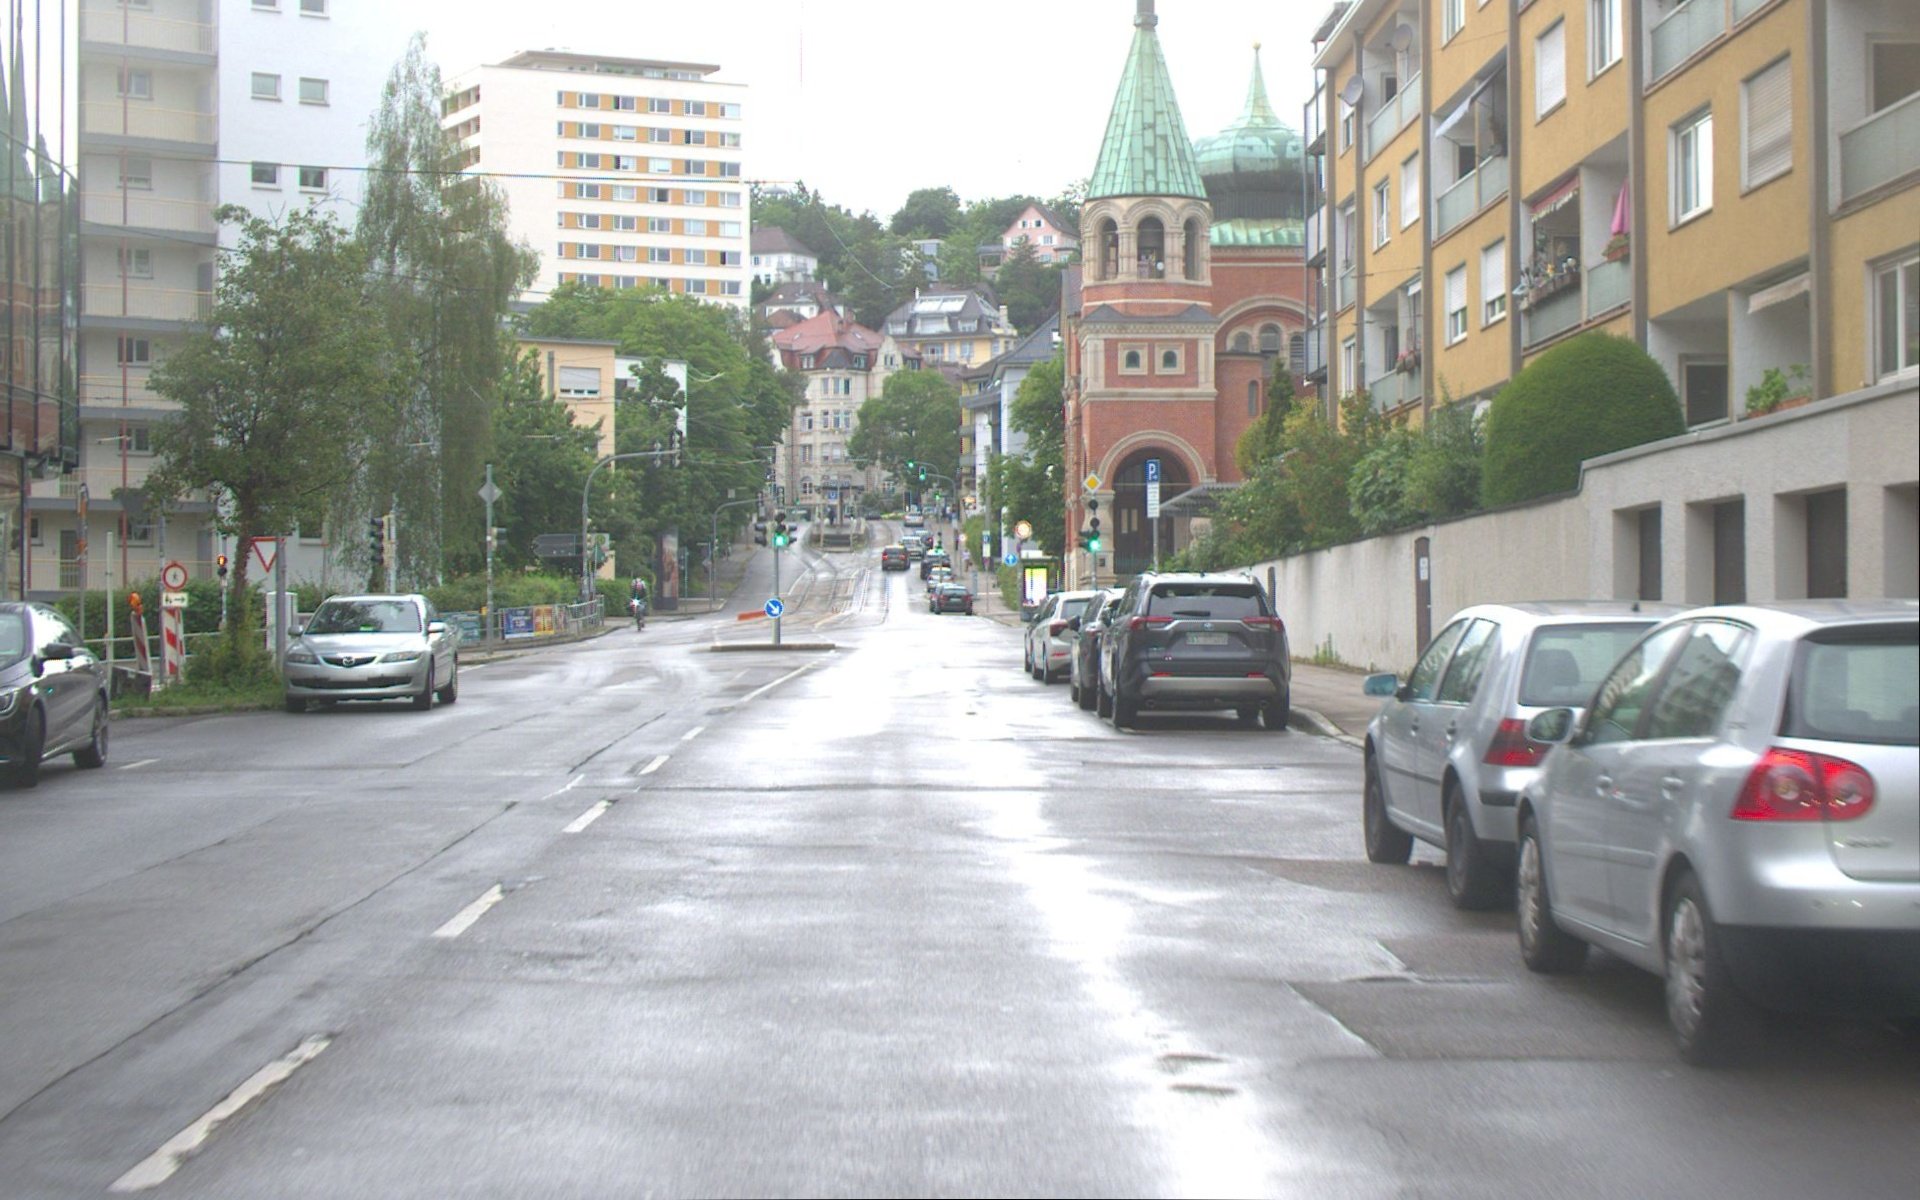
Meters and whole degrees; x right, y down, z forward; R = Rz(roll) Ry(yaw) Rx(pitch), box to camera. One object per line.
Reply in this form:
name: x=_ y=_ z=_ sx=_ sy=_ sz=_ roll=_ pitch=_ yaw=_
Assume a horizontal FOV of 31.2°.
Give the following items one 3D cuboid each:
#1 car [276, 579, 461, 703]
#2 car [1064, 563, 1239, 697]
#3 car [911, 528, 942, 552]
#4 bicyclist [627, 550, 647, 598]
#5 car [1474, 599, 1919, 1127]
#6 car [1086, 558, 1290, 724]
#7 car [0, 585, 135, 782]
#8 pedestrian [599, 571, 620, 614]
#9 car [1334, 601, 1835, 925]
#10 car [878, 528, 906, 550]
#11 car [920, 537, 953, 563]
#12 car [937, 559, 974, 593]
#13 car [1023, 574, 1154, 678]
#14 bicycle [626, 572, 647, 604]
car: x=-7.326 y=0.477 z=42.945 sx=1.709 sy=1.445 sz=4.295 roll=-1 pitch=0 yaw=-2
car: x=2.341 y=0.340 z=42.890 sx=1.817 sy=1.517 sz=4.076 roll=1 pitch=1 yaw=-1
car: x=-2.178 y=-3.928 z=224.869 sx=1.908 sy=1.505 sz=4.000 roll=2 pitch=1 yaw=-1
bicyclist: x=-11.113 y=-0.890 z=118.211 sx=0.677 sy=1.655 sz=0.650 roll=0 pitch=0 yaw=-4
car: x=3.008 y=0.770 z=12.055 sx=1.663 sy=1.497 sz=3.922 roll=0 pitch=1 yaw=-2
car: x=2.428 y=0.401 z=37.568 sx=1.817 sy=1.647 sz=4.076 roll=1 pitch=1 yaw=-1
car: x=-7.981 y=0.617 z=27.654 sx=1.803 sy=1.445 sz=4.658 roll=-1 pitch=0 yaw=-3
pedestrian: x=-15.526 y=-0.337 z=152.357 sx=0.887 sy=1.886 sz=0.923 roll=0 pitch=1 yaw=-7
car: x=3.010 y=0.730 z=17.337 sx=1.663 sy=1.395 sz=3.922 roll=0 pitch=1 yaw=-2
car: x=-4.701 y=-4.203 z=237.449 sx=1.908 sy=1.505 sz=4.000 roll=1 pitch=1 yaw=-1
car: x=-1.415 y=-3.035 z=208.981 sx=1.892 sy=1.505 sz=4.000 roll=2 pitch=1 yaw=-1
car: x=-0.208 y=-1.235 z=172.133 sx=1.732 sy=1.648 sz=4.000 roll=0 pitch=1 yaw=2
car: x=2.023 y=0.382 z=55.176 sx=1.817 sy=1.517 sz=4.076 roll=2 pitch=1 yaw=-1
bicycle: x=-11.116 y=-0.416 z=118.215 sx=0.677 sy=1.104 sz=1.800 roll=0 pitch=0 yaw=-4
